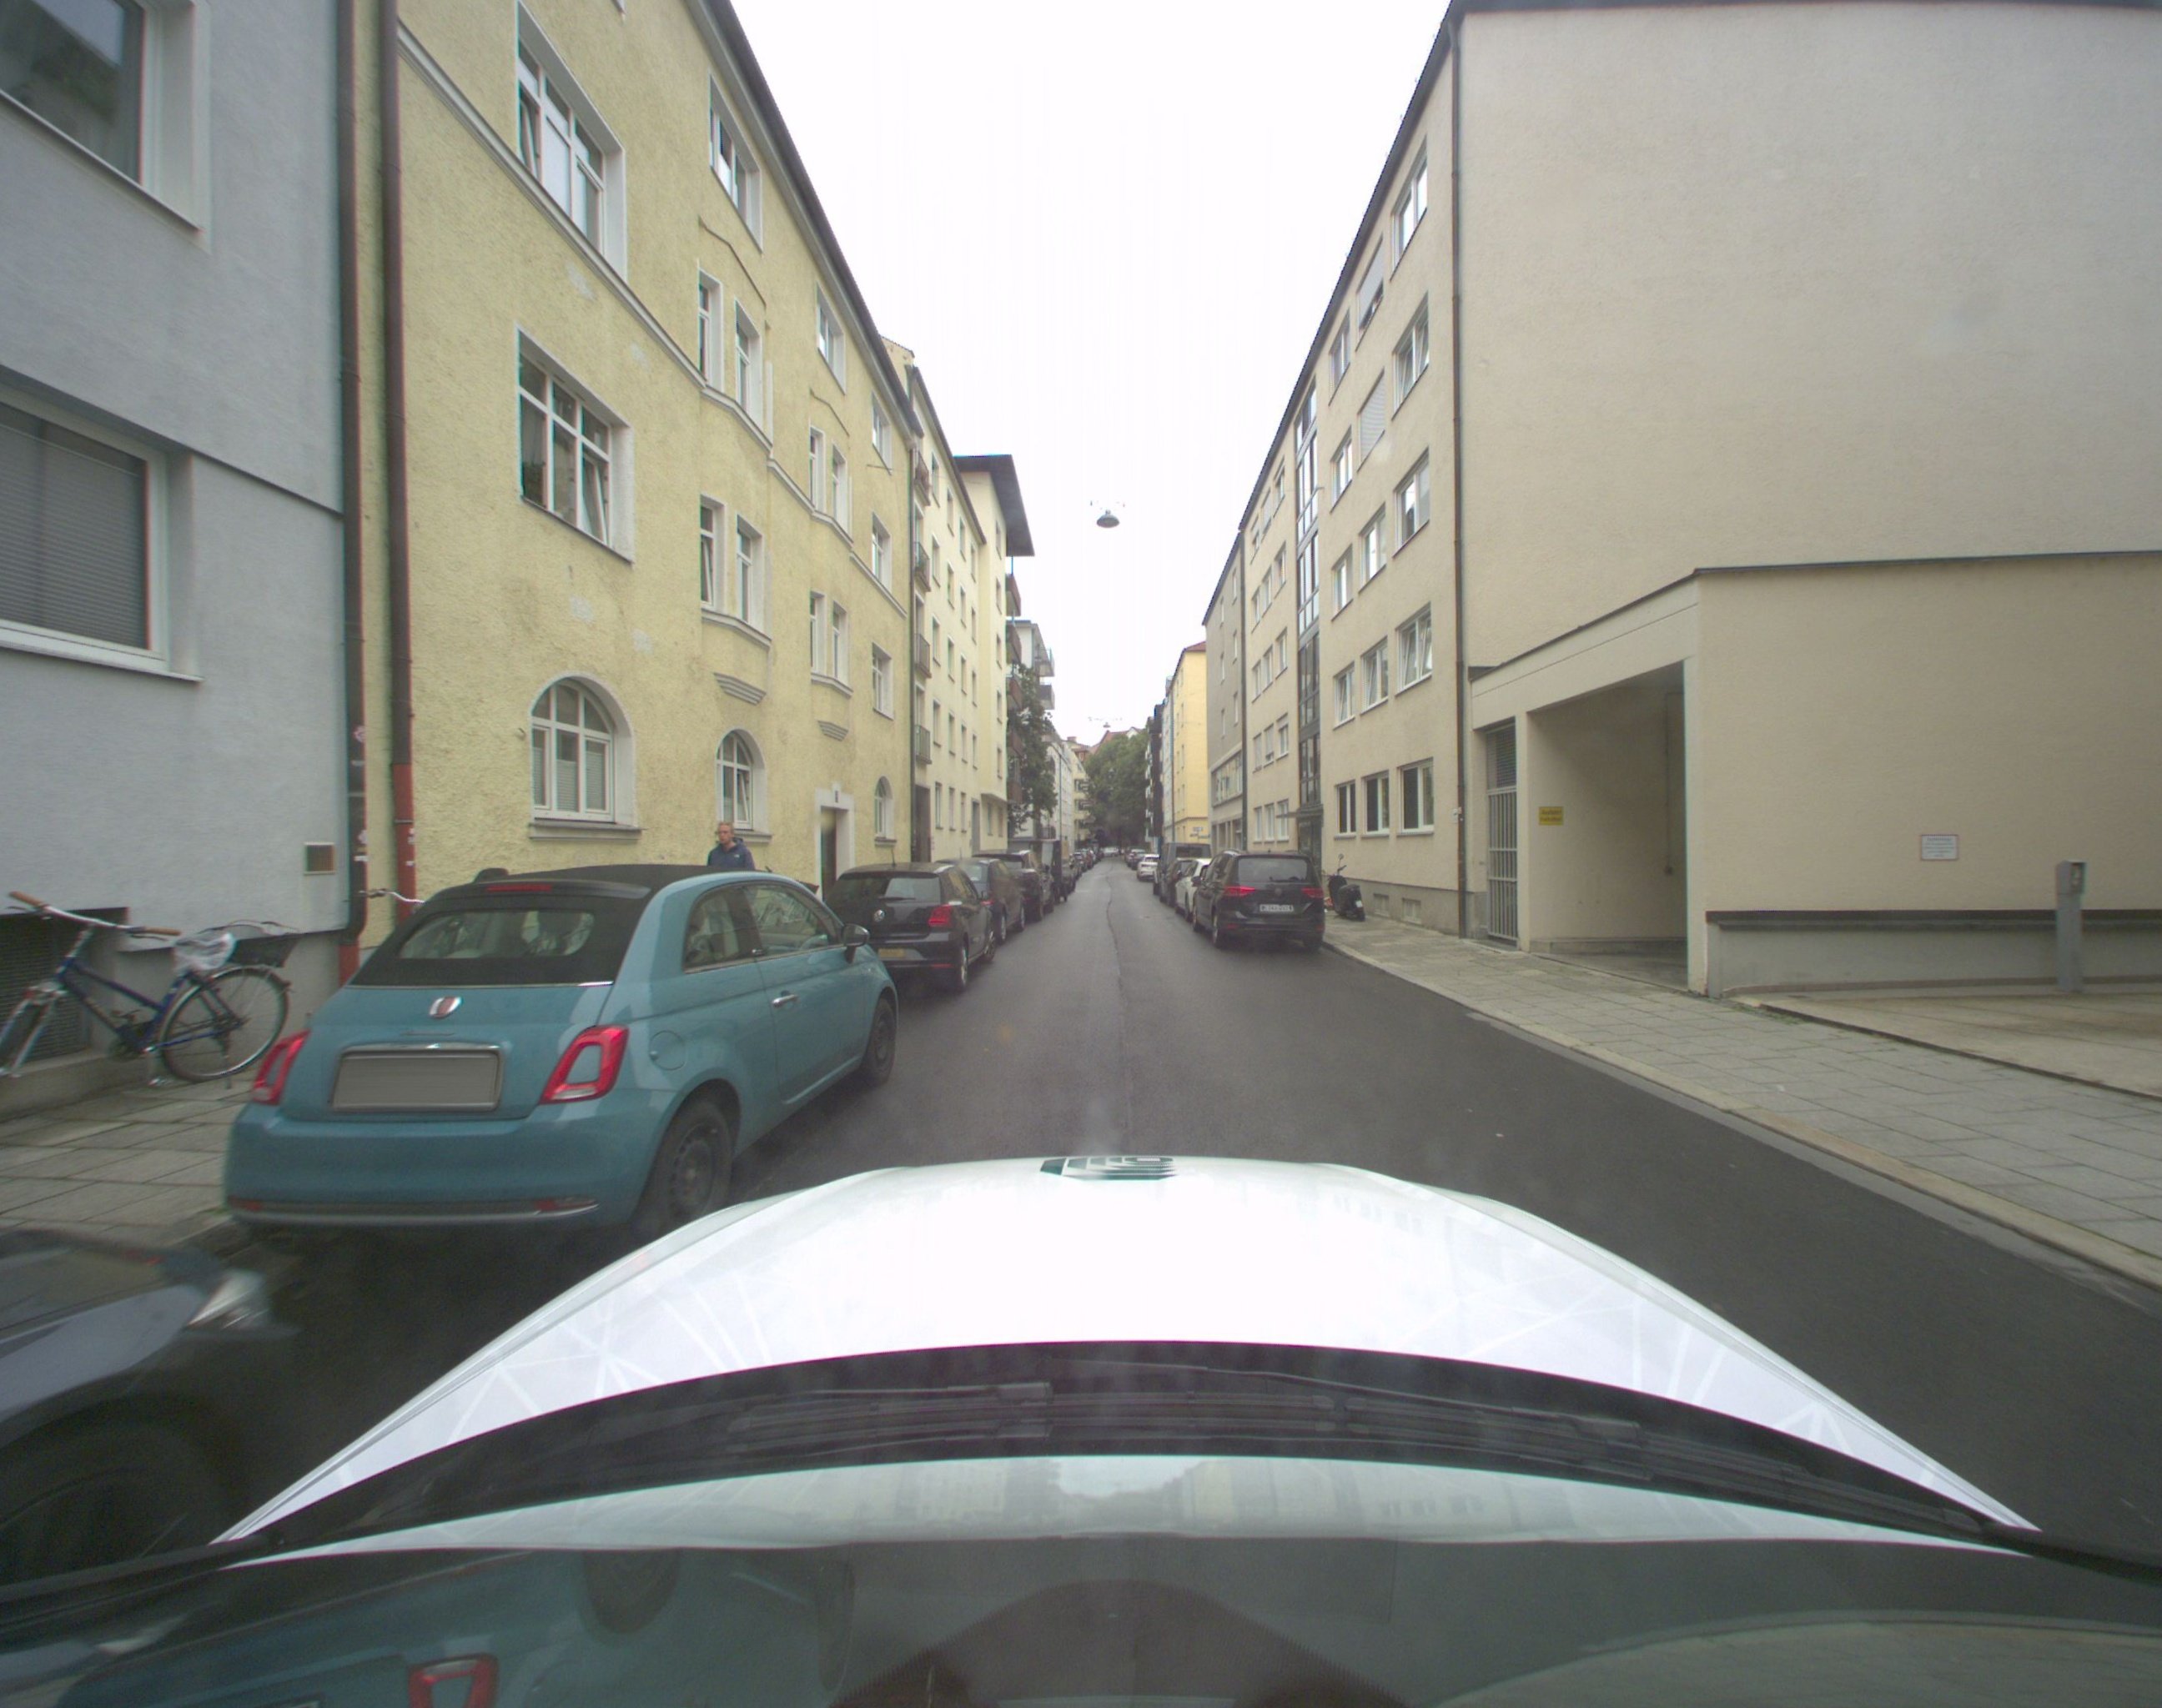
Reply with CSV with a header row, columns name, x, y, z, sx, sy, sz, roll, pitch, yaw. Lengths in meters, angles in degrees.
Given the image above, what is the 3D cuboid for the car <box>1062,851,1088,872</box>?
name,x,y,z,sx,sy,sz,roll,pitch,yaw
car,-0.407,0.559,60.129,1.686,1.442,3.945,-1,0,3

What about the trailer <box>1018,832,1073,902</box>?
name,x,y,z,sx,sy,sz,roll,pitch,yaw
trailer,-1.086,0.401,26.308,1.349,2.116,3.322,-1,0,5

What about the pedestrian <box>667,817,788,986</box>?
name,x,y,z,sx,sy,sz,roll,pitch,yaw
pedestrian,-3.898,0.492,9.076,0.836,1.764,1.068,0,0,1

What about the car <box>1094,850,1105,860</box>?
name,x,y,z,sx,sy,sz,roll,pitch,yaw
car,2.836,0.098,125.399,1.636,1.383,3.484,-3,0,2

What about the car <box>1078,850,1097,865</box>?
name,x,y,z,sx,sy,sz,roll,pitch,yaw
car,0.754,0.337,86.969,1.769,1.487,4.523,-3,0,3

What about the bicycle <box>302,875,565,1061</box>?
name,x,y,z,sx,sy,sz,roll,pitch,yaw
bicycle,-4.982,0.801,6.439,0.634,1.234,1.737,0,0,2

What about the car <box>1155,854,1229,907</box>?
name,x,y,z,sx,sy,sz,roll,pitch,yaw
car,3.346,0.753,25.274,1.706,1.486,4.243,1,0,0

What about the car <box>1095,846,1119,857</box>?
name,x,y,z,sx,sy,sz,roll,pitch,yaw
car,4.275,-0.397,135.140,3.872,1.584,1.648,-3,0,0

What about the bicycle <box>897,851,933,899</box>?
name,x,y,z,sx,sy,sz,roll,pitch,yaw
bicycle,-4.585,0.569,22.554,0.592,1.279,1.552,2,0,1

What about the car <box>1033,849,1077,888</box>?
name,x,y,z,sx,sy,sz,roll,pitch,yaw
car,-1.143,0.621,37.723,1.759,1.675,4.368,-1,0,1

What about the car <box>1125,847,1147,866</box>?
name,x,y,z,sx,sy,sz,roll,pitch,yaw
car,5.024,0.198,74.978,1.676,1.567,4.416,2,1,1

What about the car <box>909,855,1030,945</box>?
name,x,y,z,sx,sy,sz,roll,pitch,yaw
car,-1.960,0.764,15.259,1.556,1.460,3.479,-1,0,4

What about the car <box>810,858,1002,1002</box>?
name,x,y,z,sx,sy,sz,roll,pitch,yaw
car,-2.006,0.799,10.365,1.557,1.460,3.764,-1,0,1

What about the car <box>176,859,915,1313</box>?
name,x,y,z,sx,sy,sz,roll,pitch,yaw
car,-2.140,0.780,4.396,1.556,1.460,3.407,-1,0,4

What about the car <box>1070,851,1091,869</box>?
name,x,y,z,sx,sy,sz,roll,pitch,yaw
car,-0.015,0.492,67.846,1.687,1.442,3.978,-1,0,1

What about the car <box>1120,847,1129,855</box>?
name,x,y,z,sx,sy,sz,roll,pitch,yaw
car,8.130,-0.530,152.238,1.636,1.383,3.747,-3,0,2

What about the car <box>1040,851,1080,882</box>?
name,x,y,z,sx,sy,sz,roll,pitch,yaw
car,-1.060,0.645,43.288,1.758,1.483,4.428,-1,1,3

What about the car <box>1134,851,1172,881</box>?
name,x,y,z,sx,sy,sz,roll,pitch,yaw
car,3.920,0.636,44.983,1.812,1.408,3.954,1,3,1

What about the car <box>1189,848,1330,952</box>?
name,x,y,z,sx,sy,sz,roll,pitch,yaw
car,3.067,0.725,14.862,1.705,1.608,4.245,1,0,1

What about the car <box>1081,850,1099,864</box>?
name,x,y,z,sx,sy,sz,roll,pitch,yaw
car,1.045,0.329,92.071,1.770,1.452,4.048,-3,0,2

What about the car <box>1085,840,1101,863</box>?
name,x,y,z,sx,sy,sz,roll,pitch,yaw
car,1.570,-0.327,106.763,1.929,2.801,4.534,-3,0,2

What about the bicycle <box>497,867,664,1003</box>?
name,x,y,z,sx,sy,sz,roll,pitch,yaw
bicycle,-5.056,0.763,8.371,0.591,1.234,1.737,0,0,1

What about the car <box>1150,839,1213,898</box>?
name,x,y,z,sx,sy,sz,roll,pitch,yaw
car,3.618,0.465,30.011,1.745,1.975,4.342,2,1,0

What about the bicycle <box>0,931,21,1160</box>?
name,x,y,z,sx,sy,sz,roll,pitch,yaw
bicycle,-5.194,0.866,2.973,0.543,1.031,1.571,0,0,2

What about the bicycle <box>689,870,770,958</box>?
name,x,y,z,sx,sy,sz,roll,pitch,yaw
bicycle,-5.124,0.835,11.979,0.437,1.190,1.633,0,0,1

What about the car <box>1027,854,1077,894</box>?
name,x,y,z,sx,sy,sz,roll,pitch,yaw
car,-1.101,0.750,32.445,1.645,1.435,3.805,-1,0,2

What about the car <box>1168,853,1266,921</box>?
name,x,y,z,sx,sy,sz,roll,pitch,yaw
car,3.263,0.741,20.292,1.706,1.486,4.243,1,0,0

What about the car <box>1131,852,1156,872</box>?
name,x,y,z,sx,sy,sz,roll,pitch,yaw
car,4.963,0.603,64.936,1.744,1.469,4.345,2,1,2

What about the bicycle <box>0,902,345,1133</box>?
name,x,y,z,sx,sy,sz,roll,pitch,yaw
bicycle,-5.210,0.836,4.728,0.394,1.031,1.571,0,0,2

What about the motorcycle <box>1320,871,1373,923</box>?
name,x,y,z,sx,sy,sz,roll,pitch,yaw
motorcycle,5.610,0.891,17.319,0.480,0.967,1.912,-4,0,1

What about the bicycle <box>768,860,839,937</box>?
name,x,y,z,sx,sy,sz,roll,pitch,yaw
bicycle,-4.766,0.727,14.090,0.591,1.234,1.737,0,0,1

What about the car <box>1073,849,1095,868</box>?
name,x,y,z,sx,sy,sz,roll,pitch,yaw
car,0.299,0.374,73.831,1.770,1.629,4.417,-1,0,2

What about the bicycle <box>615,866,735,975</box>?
name,x,y,z,sx,sy,sz,roll,pitch,yaw
bicycle,-5.034,0.774,10.225,0.591,1.234,1.737,0,0,1

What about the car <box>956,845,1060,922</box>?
name,x,y,z,sx,sy,sz,roll,pitch,yaw
car,-1.678,0.662,20.191,1.871,1.660,4.419,-1,0,4
